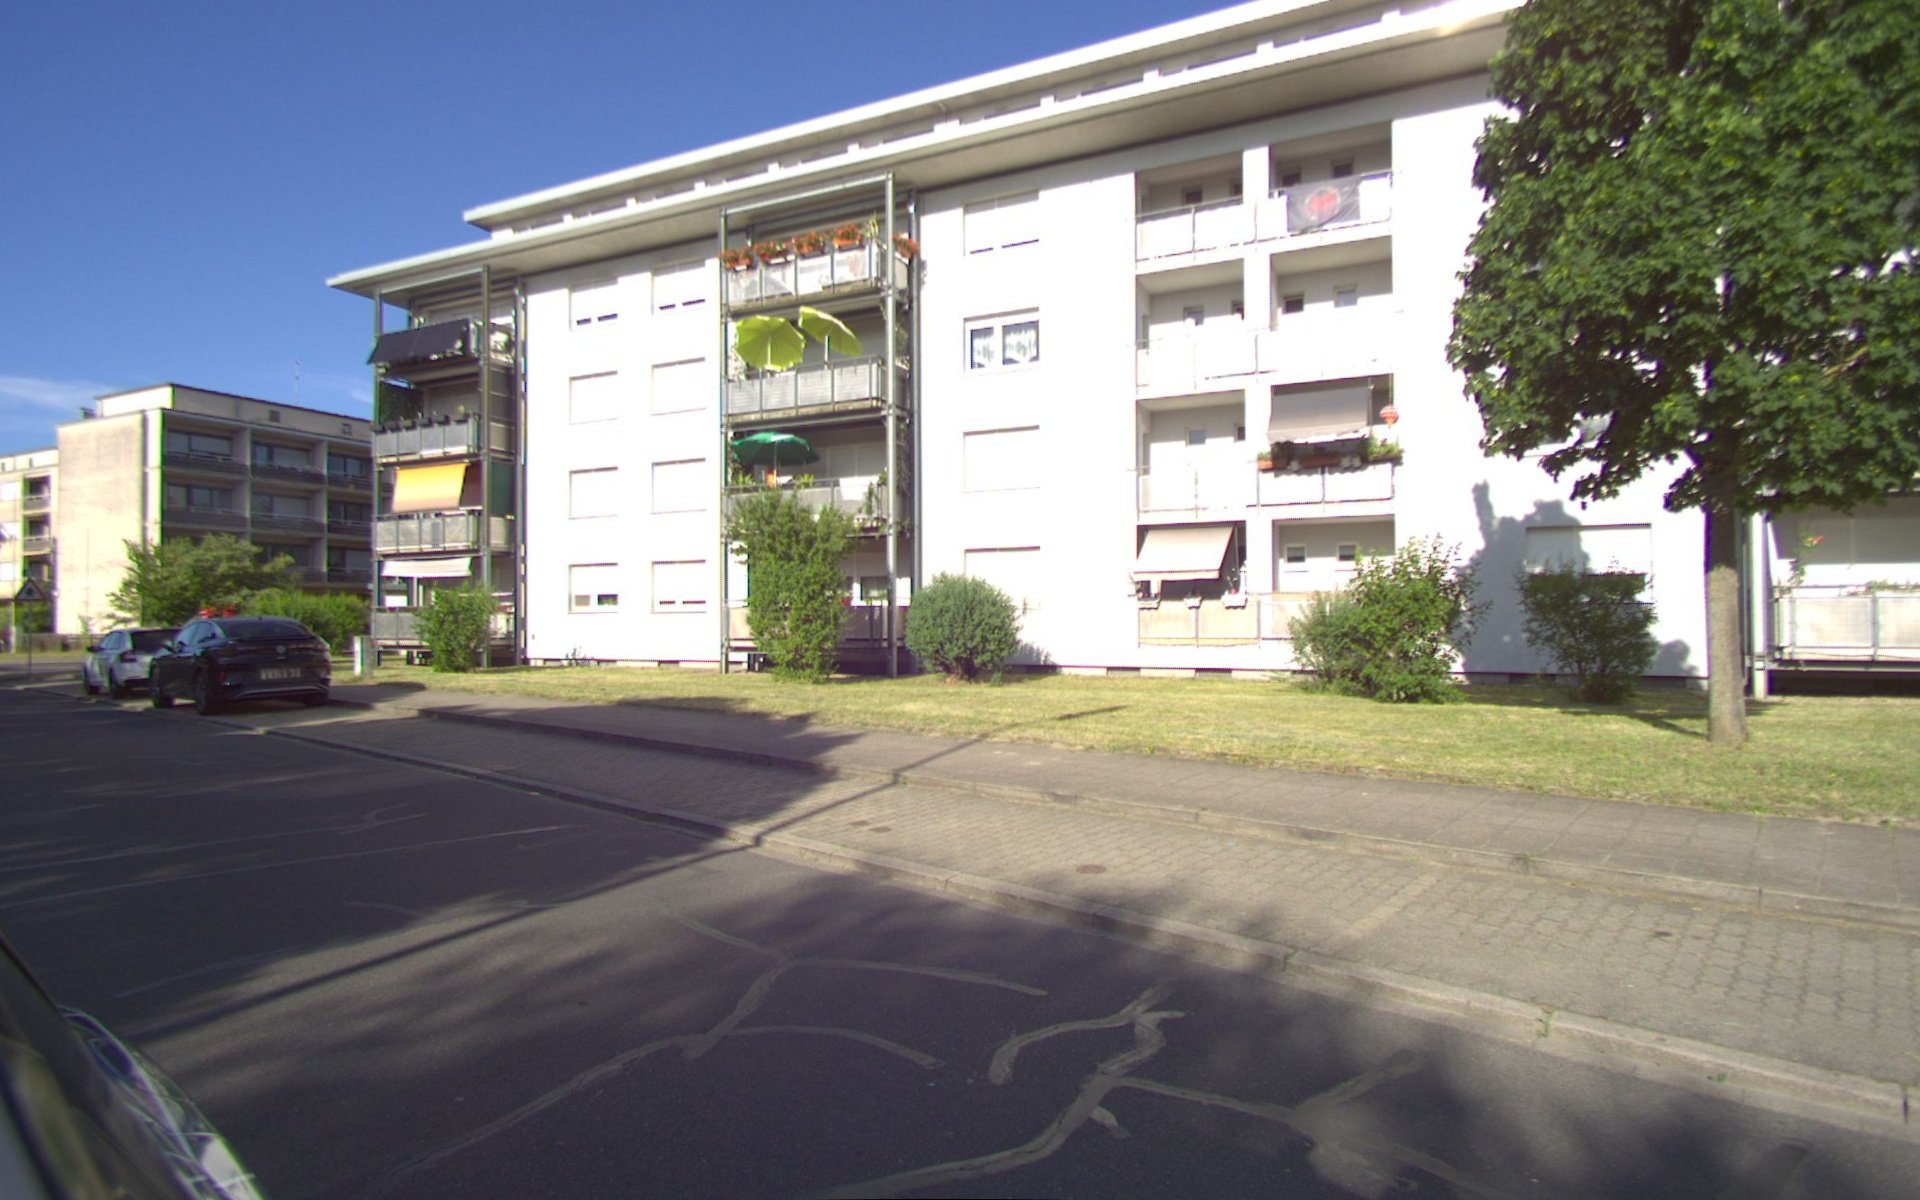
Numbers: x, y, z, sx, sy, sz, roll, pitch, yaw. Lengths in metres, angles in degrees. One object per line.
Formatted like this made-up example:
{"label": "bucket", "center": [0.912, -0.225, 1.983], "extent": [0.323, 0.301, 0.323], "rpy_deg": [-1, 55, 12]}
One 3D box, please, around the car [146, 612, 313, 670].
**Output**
{"label": "car", "center": [-33.347, 1.875, 46.403], "extent": [2.209, 2.447, 5.851], "rpy_deg": [-4, -4, 36]}

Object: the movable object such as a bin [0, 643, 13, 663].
{"label": "movable object such as a bin", "center": [-53.131, 2.940, 56.128], "extent": [0.695, 1.056, 0.626], "rpy_deg": [-1, -2, 13]}

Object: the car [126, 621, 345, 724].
{"label": "car", "center": [-12.990, 1.203, 18.030], "extent": [4.805, 1.616, 1.896], "rpy_deg": [-2, -2, 38]}

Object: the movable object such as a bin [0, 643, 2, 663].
{"label": "movable object such as a bin", "center": [-53.839, 2.956, 56.328], "extent": [0.552, 1.061, 0.562], "rpy_deg": [-1, -2, 14]}

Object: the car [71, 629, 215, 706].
{"label": "car", "center": [-17.834, 1.417, 22.025], "extent": [4.327, 1.478, 1.630], "rpy_deg": [-2, -1, 40]}
